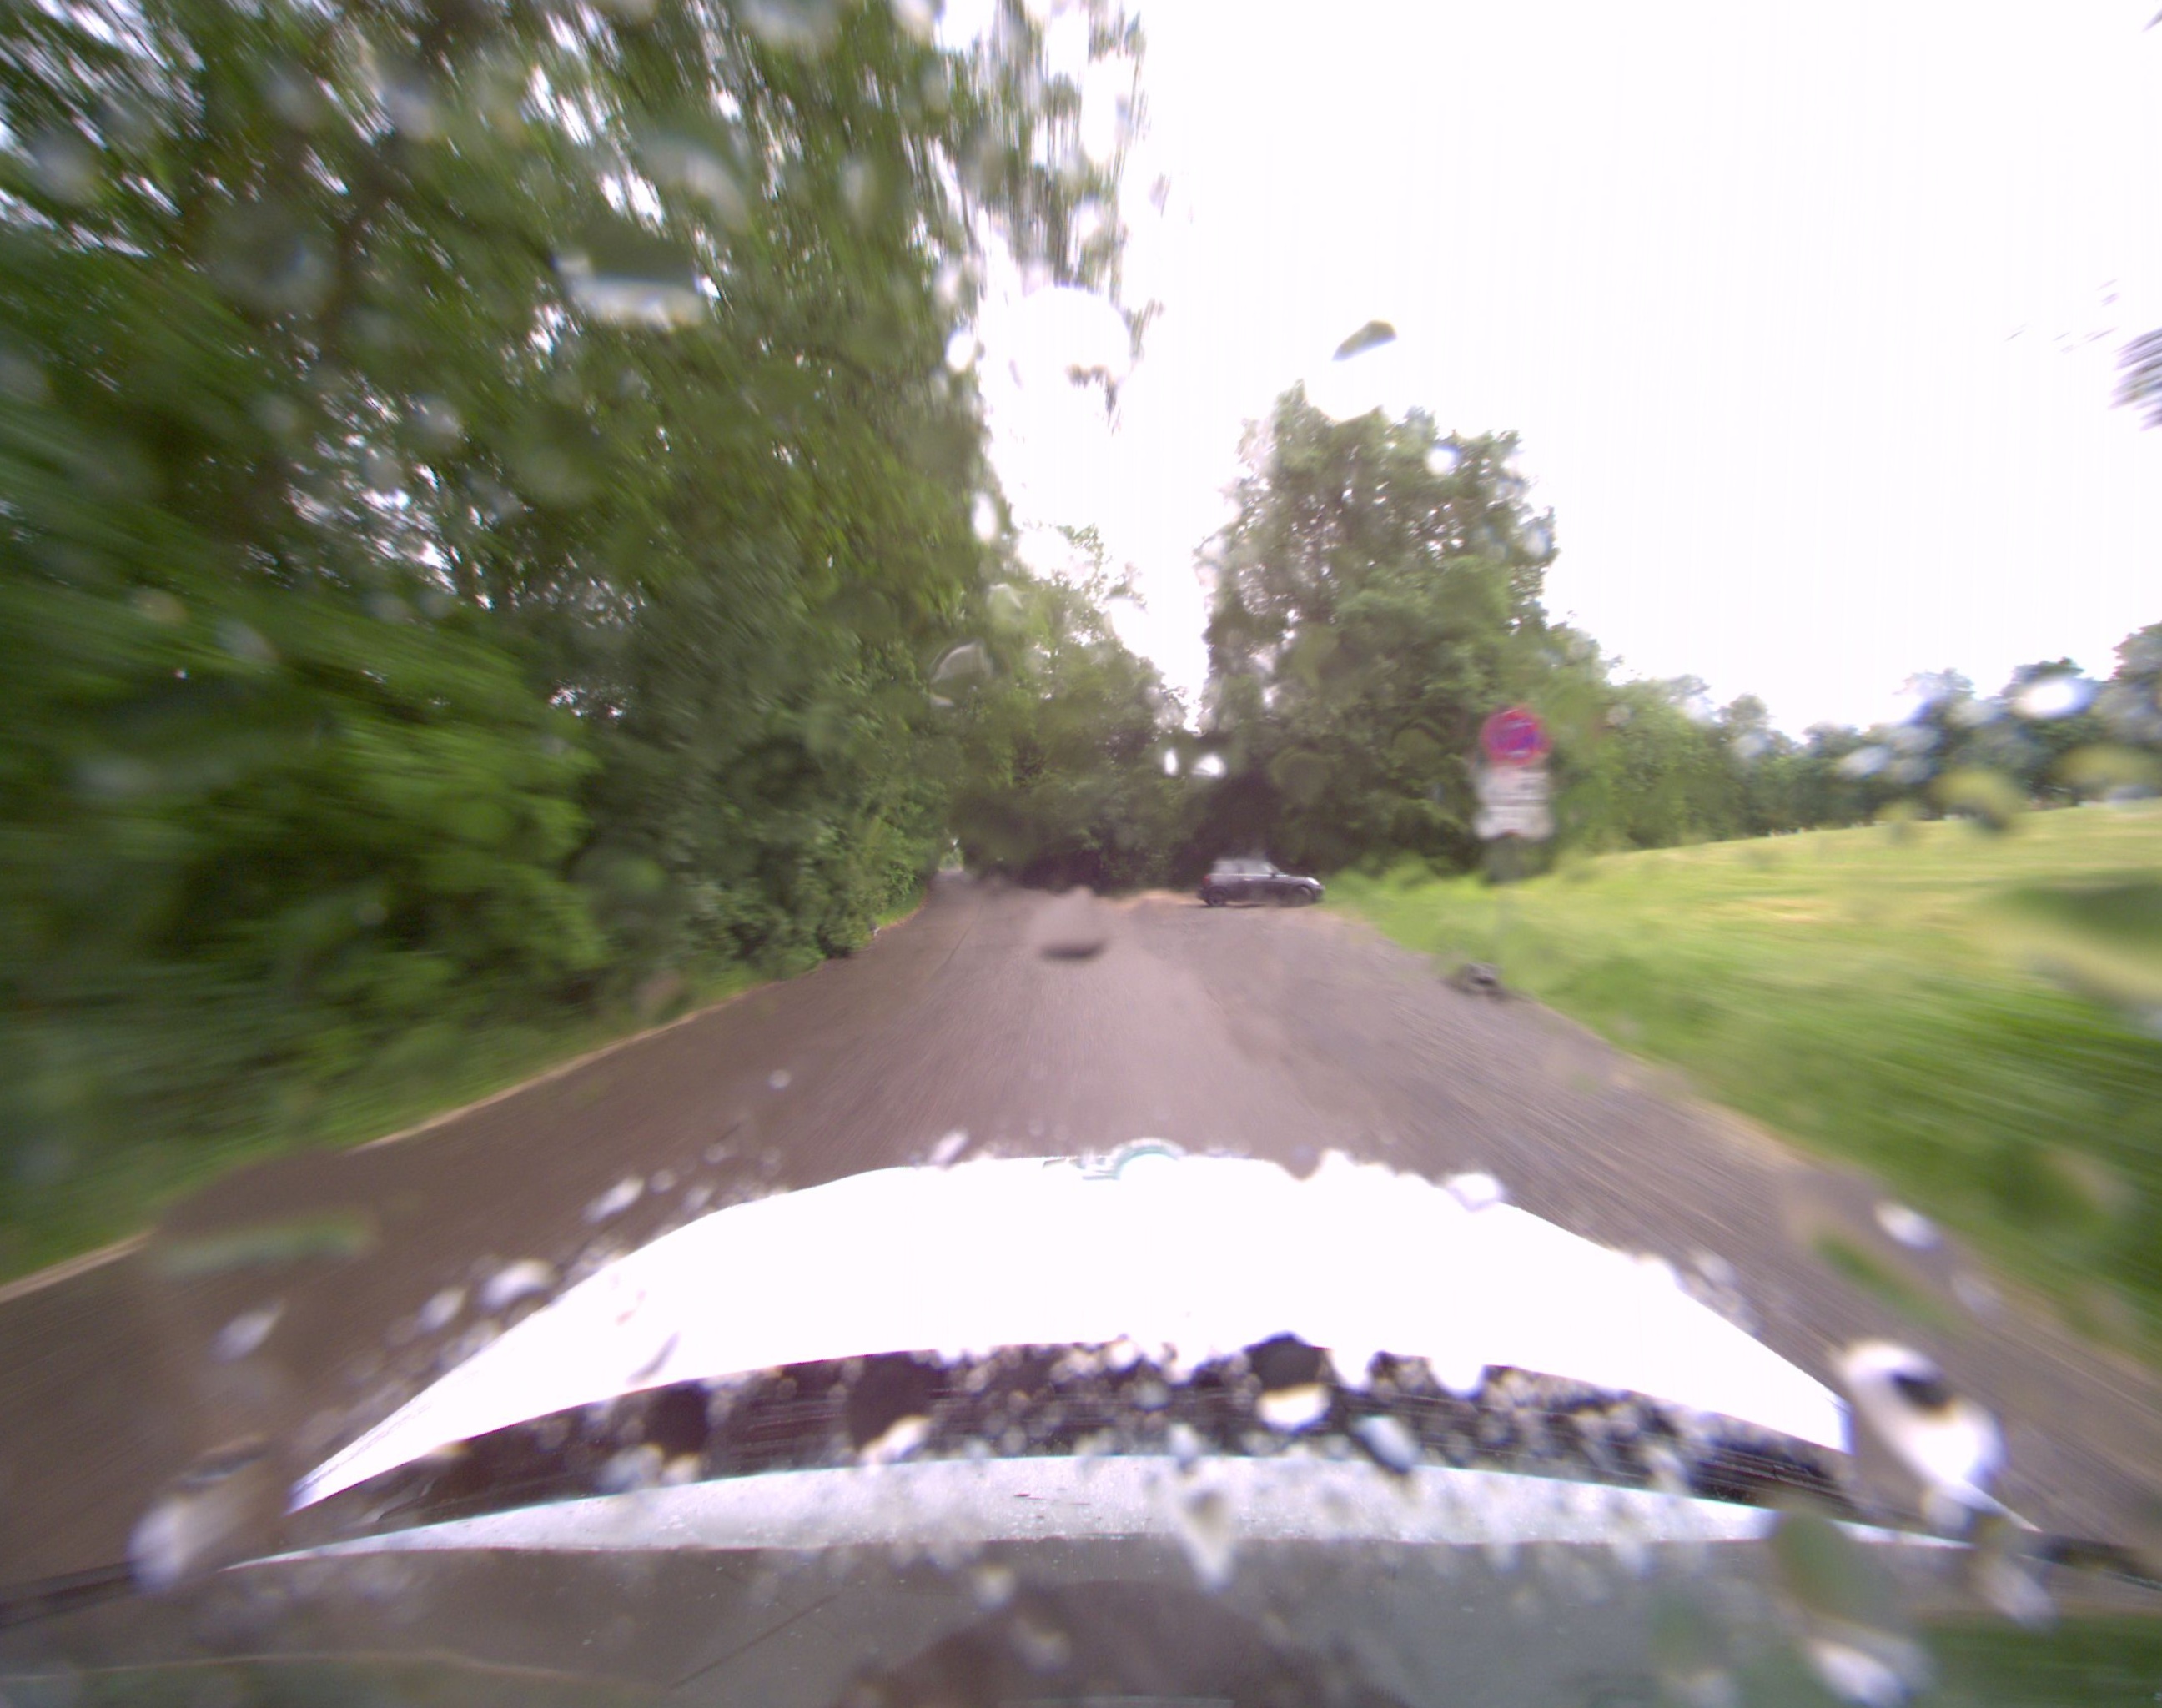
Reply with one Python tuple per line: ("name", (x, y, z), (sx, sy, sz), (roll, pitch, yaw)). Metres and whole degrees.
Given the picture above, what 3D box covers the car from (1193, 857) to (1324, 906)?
("car", (5.368, 0.829, 24.946), (3.694, 1.436, 1.707), (0, -1, 1))
